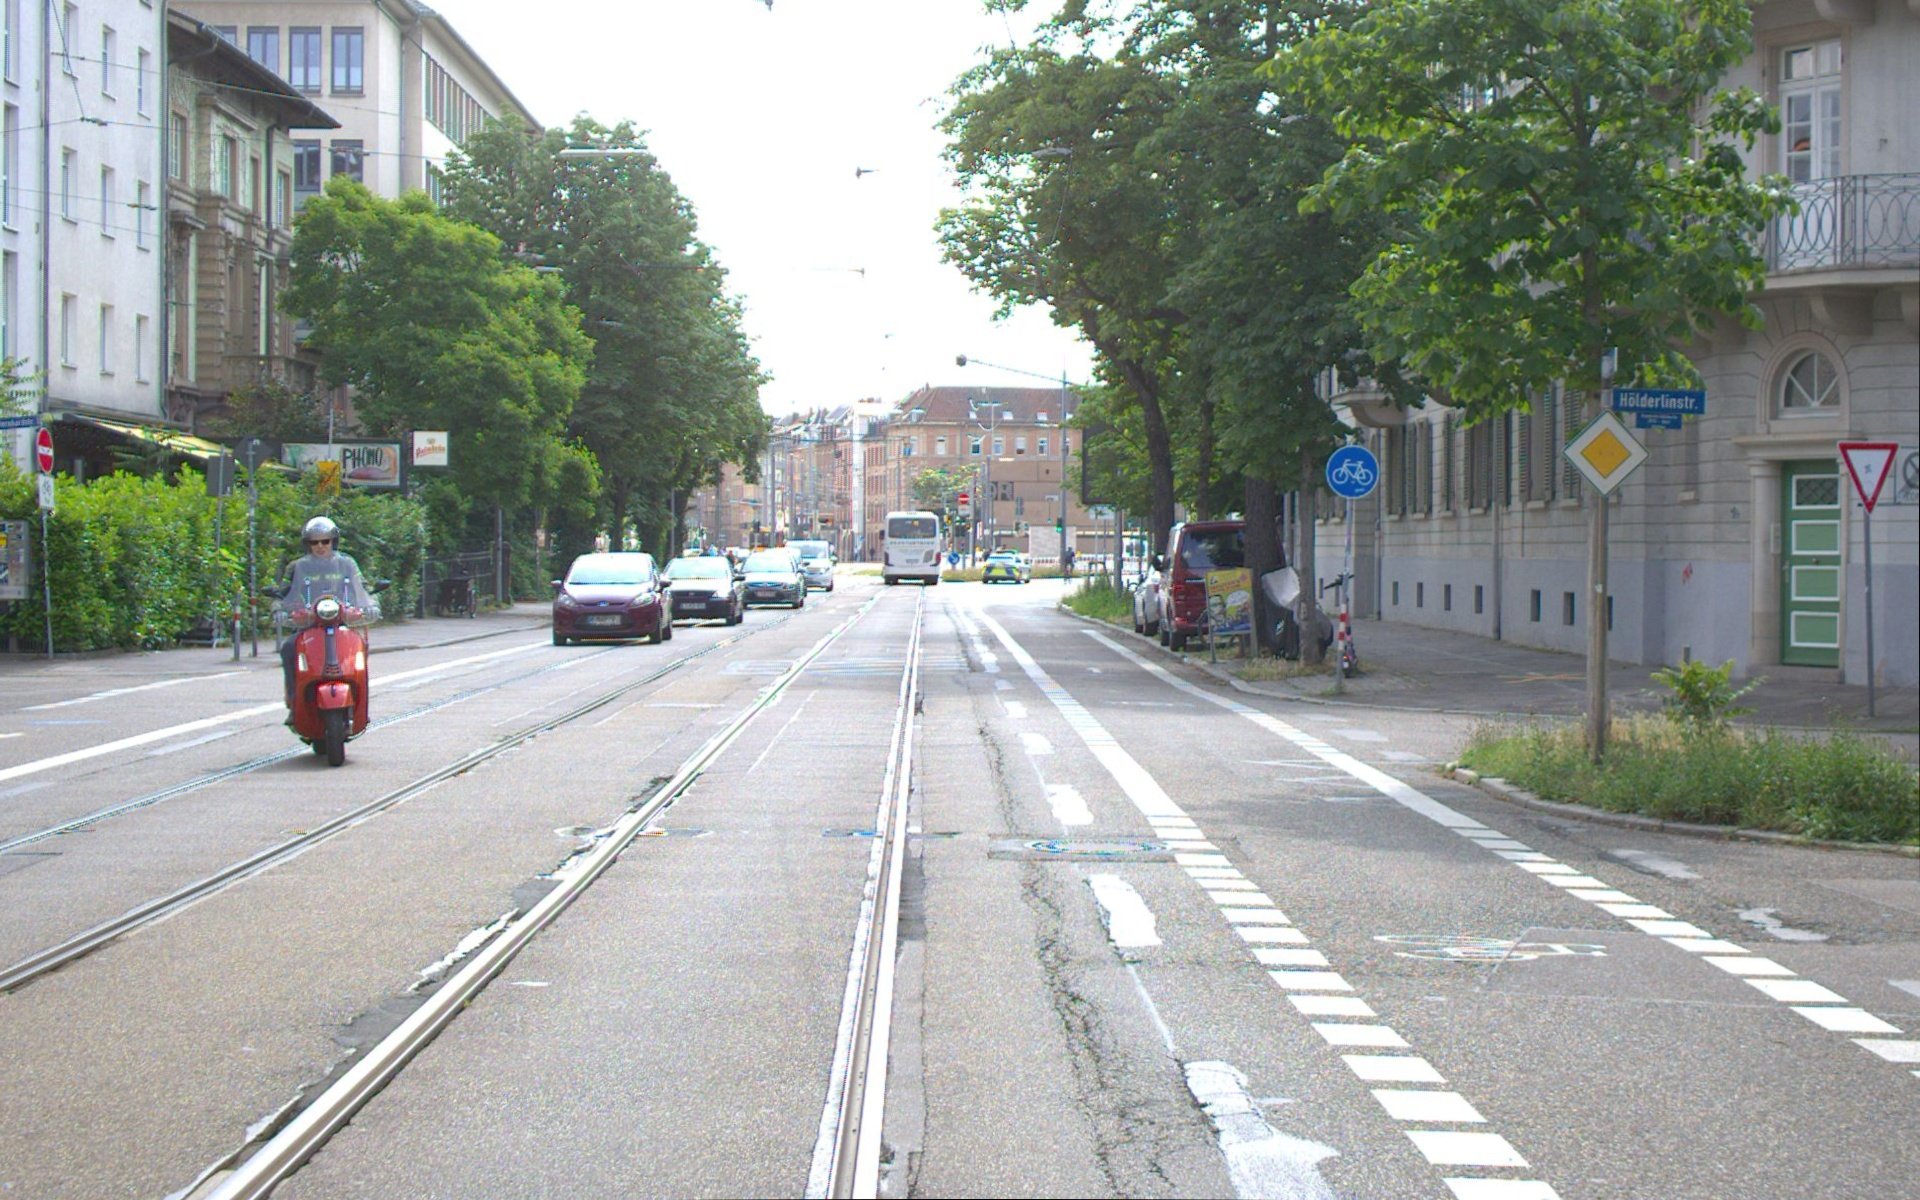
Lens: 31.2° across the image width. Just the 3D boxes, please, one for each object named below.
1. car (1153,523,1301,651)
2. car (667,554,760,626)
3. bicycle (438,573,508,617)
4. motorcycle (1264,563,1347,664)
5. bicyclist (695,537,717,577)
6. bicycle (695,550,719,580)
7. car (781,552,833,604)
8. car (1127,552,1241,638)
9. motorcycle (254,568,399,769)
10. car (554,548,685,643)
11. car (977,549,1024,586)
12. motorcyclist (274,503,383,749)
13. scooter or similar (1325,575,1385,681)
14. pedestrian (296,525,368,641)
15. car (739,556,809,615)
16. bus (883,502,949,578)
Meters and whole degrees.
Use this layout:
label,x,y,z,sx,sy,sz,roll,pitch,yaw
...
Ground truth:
label,x,y,z,sx,sy,sz,roll,pitch,yaw
car,4.159,-0.229,54.277,1.895,1.934,4.951,0,1,-1
car,-5.019,-0.227,70.420,1.628,1.402,4.129,1,1,0
bicycle,-11.106,-0.134,78.450,1.142,0.905,2.989,3,1,0
motorcycle,4.616,0.161,46.088,0.857,1.317,2.445,1,1,0
bicyclist,-9.689,-1.639,131.203,0.599,1.487,0.882,-5,1,2
bicycle,-9.657,-1.338,131.218,0.602,1.093,2.022,-5,1,2
car,-5.732,-0.836,129.200,1.897,1.901,5.385,0,1,-2
car,4.025,-0.122,62.518,1.707,1.493,4.789,0,1,-1
motorcycle,-4.472,0.454,24.378,0.739,1.355,2.089,0,1,-3
car,-5.402,-0.096,54.940,1.594,1.435,3.936,-1,1,1
car,1.965,-1.592,168.571,2.130,1.678,4.103,2,2,-1
motorcyclist,-4.475,0.176,24.398,0.739,1.708,0.921,0,1,-10
scooter or similar,4.783,0.330,41.674,0.532,1.247,1.720,0,1,0
pedestrian,-10.443,-0.291,57.196,1.059,1.911,0.829,0,0,-2
car,-4.993,-0.407,92.699,1.727,1.535,4.277,-1,1,-1
bus,-2.090,-2.746,161.387,2.917,3.317,12.207,1,0,-1
